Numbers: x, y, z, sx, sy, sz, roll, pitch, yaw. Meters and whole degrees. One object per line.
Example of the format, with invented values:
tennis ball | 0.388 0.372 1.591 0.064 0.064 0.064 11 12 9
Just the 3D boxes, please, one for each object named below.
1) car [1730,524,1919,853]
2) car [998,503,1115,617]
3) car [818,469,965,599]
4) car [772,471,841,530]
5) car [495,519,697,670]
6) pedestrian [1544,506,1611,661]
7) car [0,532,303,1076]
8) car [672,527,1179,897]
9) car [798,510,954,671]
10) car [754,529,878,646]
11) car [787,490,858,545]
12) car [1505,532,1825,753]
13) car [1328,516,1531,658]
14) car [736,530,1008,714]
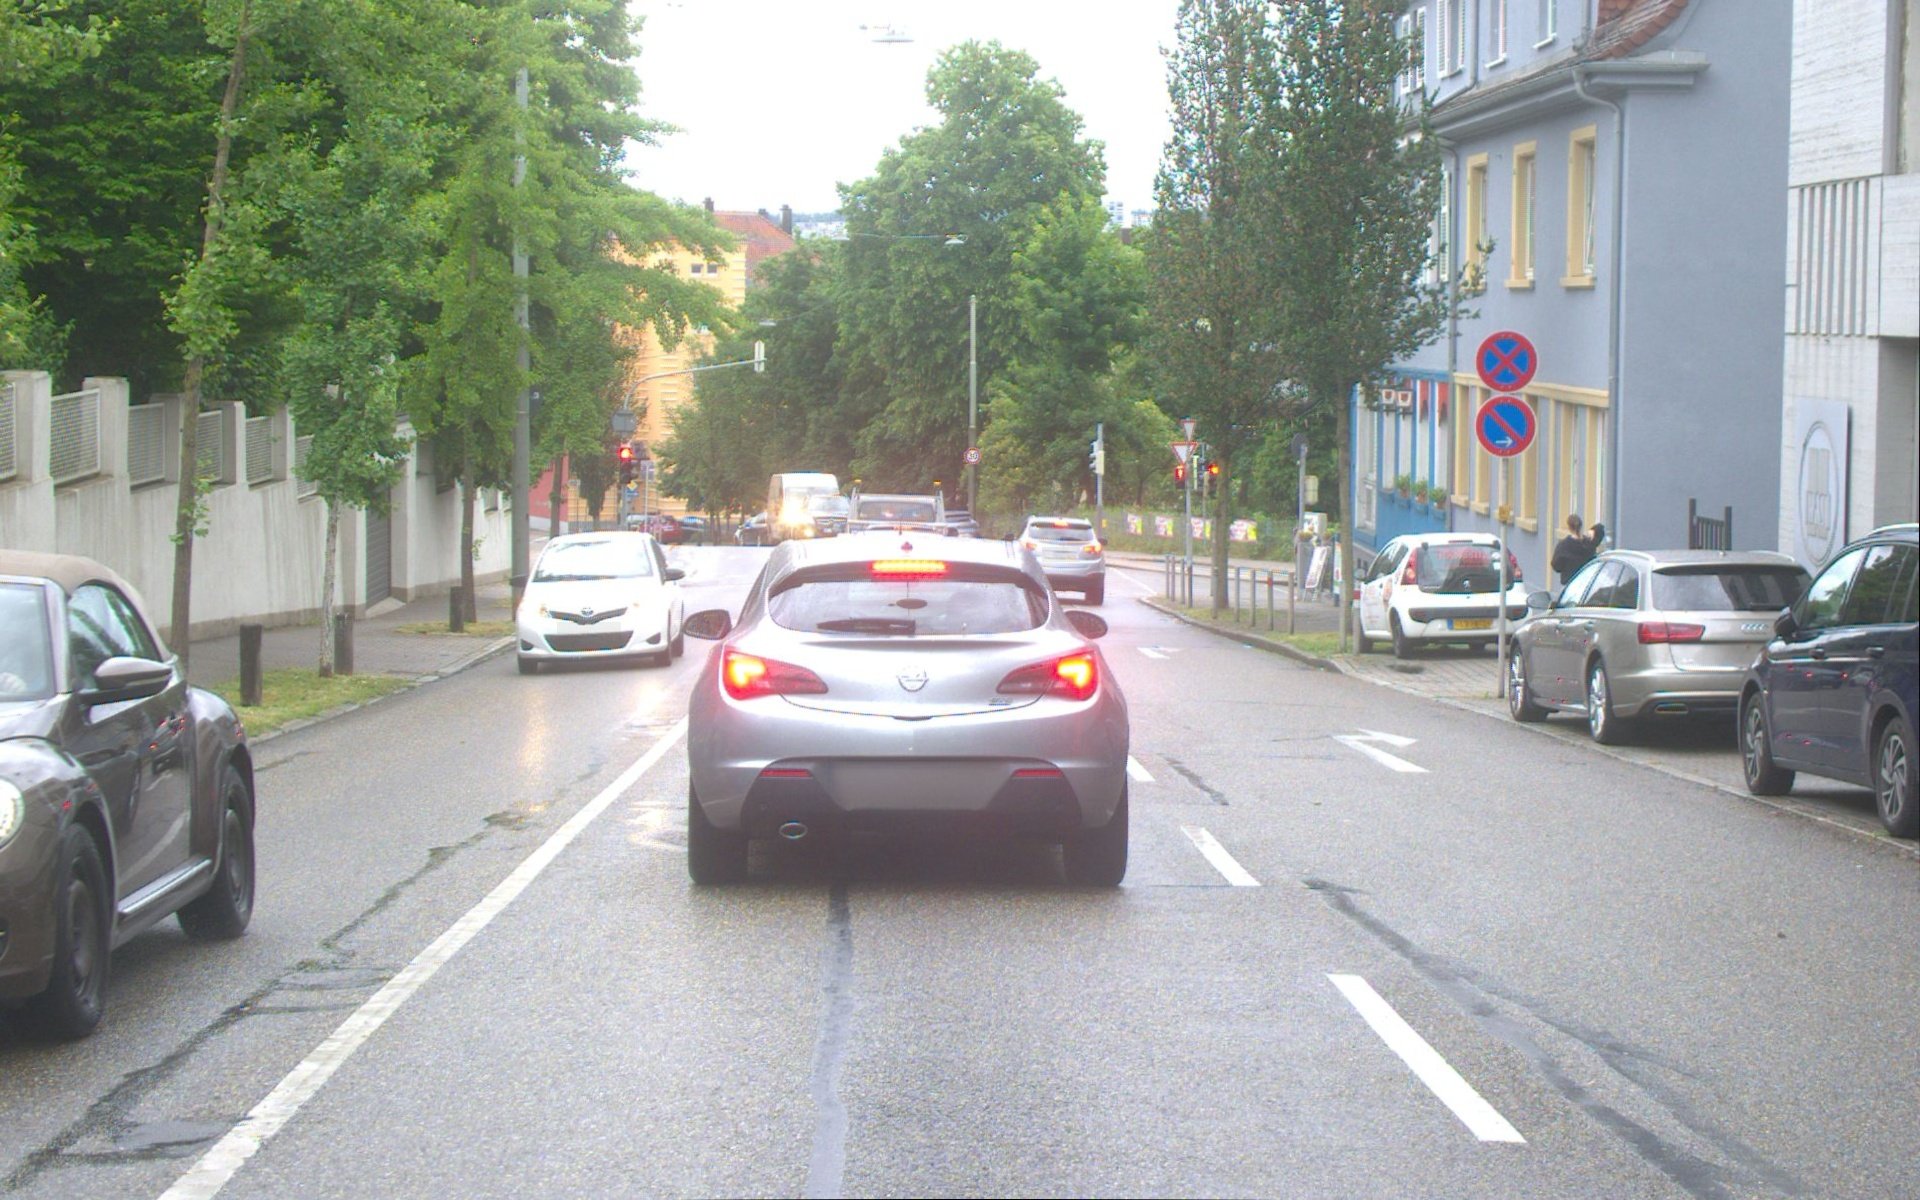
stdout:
car | 5.568 0.393 19.066 1.686 1.565 4.001 0 2 0
car | 1.875 -0.832 68.426 1.993 2.029 4.736 4 2 -1
car | -1.170 -1.190 59.753 2.334 2.029 4.735 4 2 -1
car | -4.974 -3.266 112.166 1.993 1.778 4.001 4 2 0
car | -4.074 -0.105 39.014 1.822 1.474 3.864 -3 2 0
pedestrian | 7.215 -0.199 40.169 0.645 1.778 0.542 1 2 0
car | -3.507 0.554 11.347 1.850 1.464 4.088 -3 1 0
car | -0.294 0.408 15.497 1.945 1.427 3.885 1 1 -5
car | -1.107 -0.162 43.550 1.768 1.775 3.977 4 2 -3
car | -2.265 -0.229 53.569 1.754 1.645 4.001 4 1 -3
car | -4.213 -2.558 105.963 1.993 1.530 4.309 4 2 -1
car | 5.361 0.260 26.650 1.584 1.488 4.290 0 2 0
car | 5.620 -0.200 41.590 1.906 1.565 4.001 0 2 0
car | -0.779 0.136 27.543 1.797 1.318 4.001 2 1 -6
